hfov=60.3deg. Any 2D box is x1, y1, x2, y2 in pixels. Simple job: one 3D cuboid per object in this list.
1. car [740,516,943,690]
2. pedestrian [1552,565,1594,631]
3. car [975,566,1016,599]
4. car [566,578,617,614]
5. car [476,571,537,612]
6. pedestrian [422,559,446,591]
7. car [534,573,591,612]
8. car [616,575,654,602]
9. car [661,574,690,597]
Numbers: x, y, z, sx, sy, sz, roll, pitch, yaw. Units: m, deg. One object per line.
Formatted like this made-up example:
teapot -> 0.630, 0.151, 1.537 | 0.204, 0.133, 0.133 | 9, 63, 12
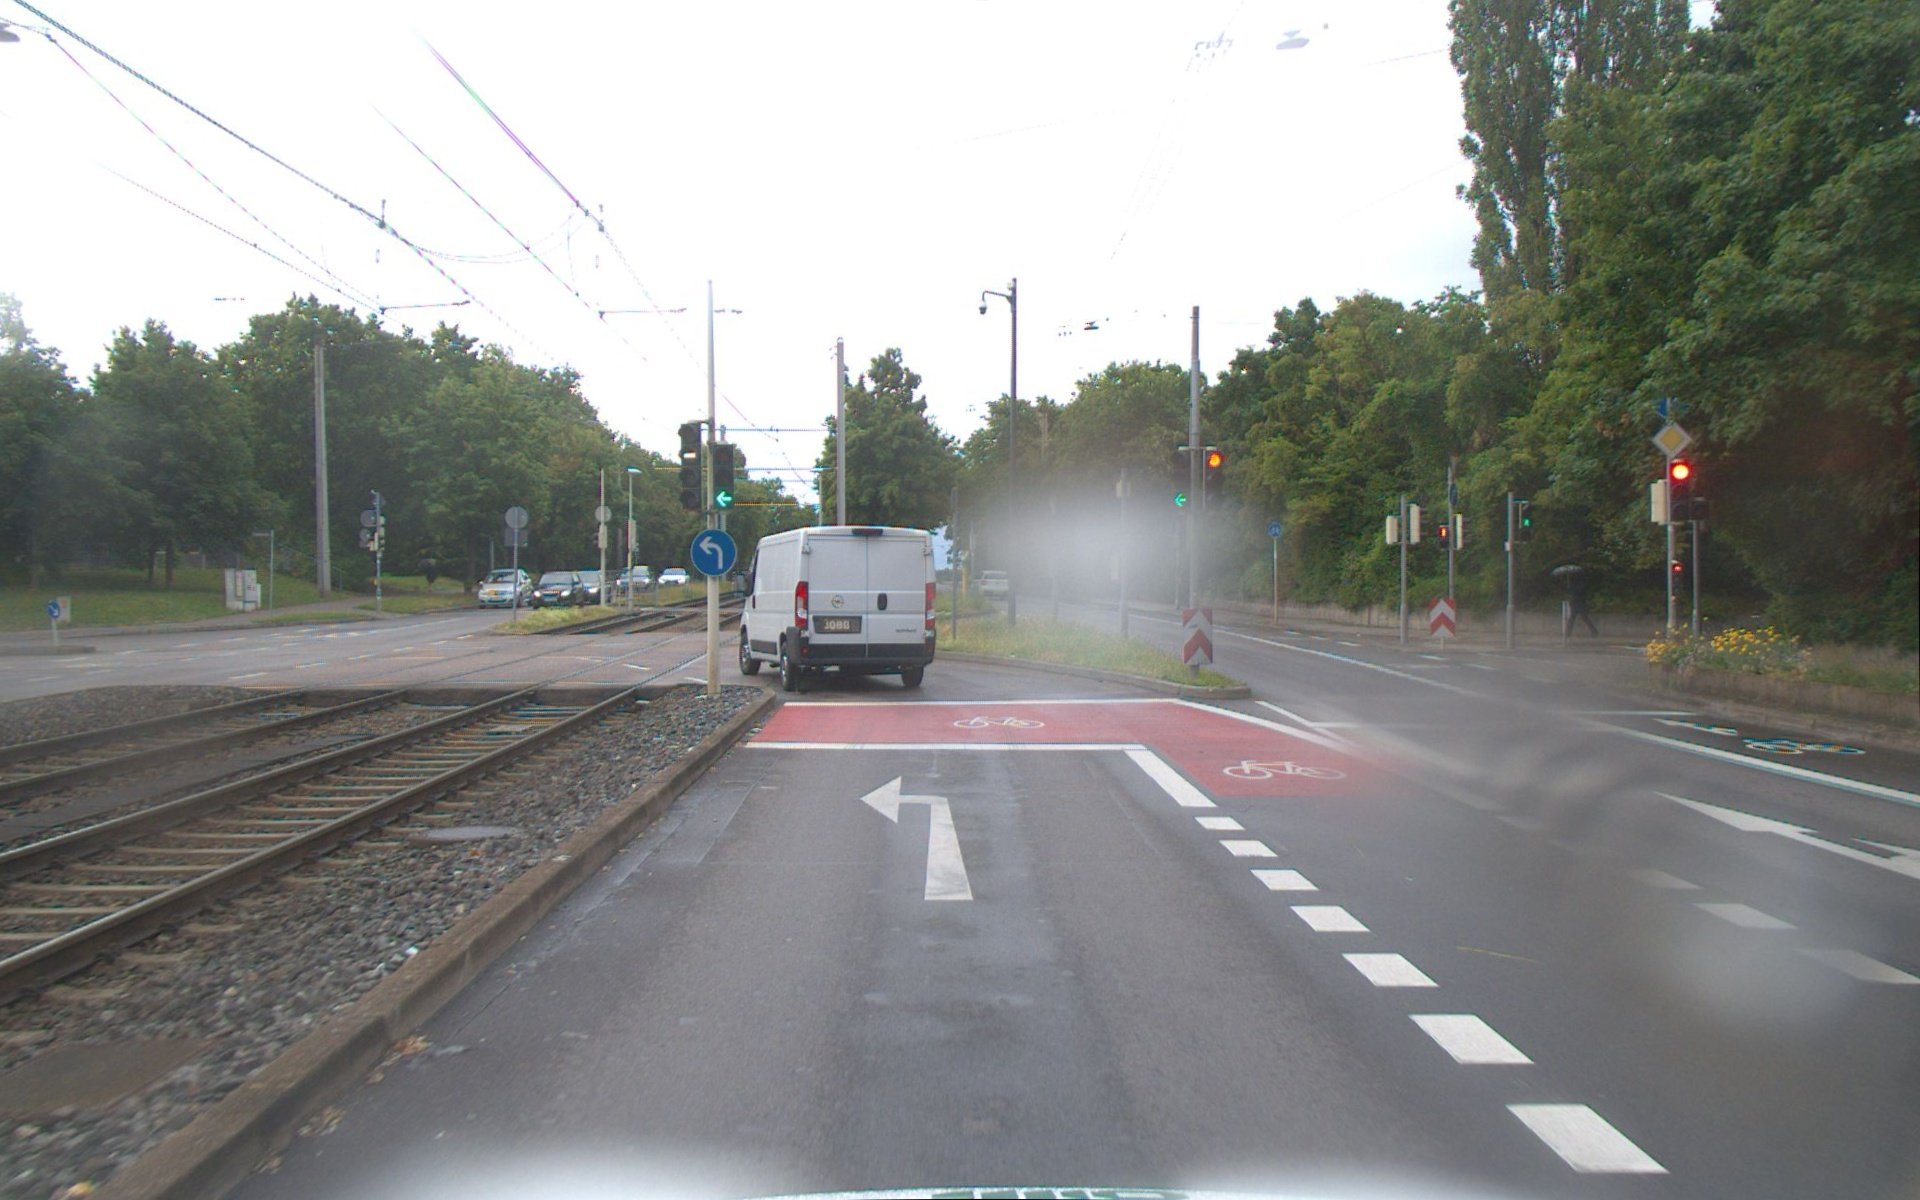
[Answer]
car -> -1.903, -0.051, 24.758 | 2.111, 2.323, 5.043 | -1, 2, -15
pedestrian -> 15.445, -0.040, 41.710 | 0.791, 1.635, 0.683 | 1, -2, -1
car -> 1.722, -0.865, 81.496 | 1.669, 1.548, 3.790 | 1, 1, -3
car -> -15.948, -0.188, 71.742 | 1.569, 1.426, 3.789 | 1, 1, -4
car -> -19.484, -0.383, 71.185 | 1.685, 1.580, 3.860 | -3, 2, -4
pedestrian -> -26.442, -1.258, 83.204 | 0.994, 1.628, 1.038 | 0, 1, -9
car -> -15.957, -0.322, 66.601 | 1.569, 1.426, 3.789 | 1, 1, -4
car -> -17.953, -0.654, 91.467 | 1.569, 1.426, 3.789 | 1, 1, -4
car -> -19.505, -1.003, 113.479 | 1.569, 1.426, 3.789 | 1, 1, -4
